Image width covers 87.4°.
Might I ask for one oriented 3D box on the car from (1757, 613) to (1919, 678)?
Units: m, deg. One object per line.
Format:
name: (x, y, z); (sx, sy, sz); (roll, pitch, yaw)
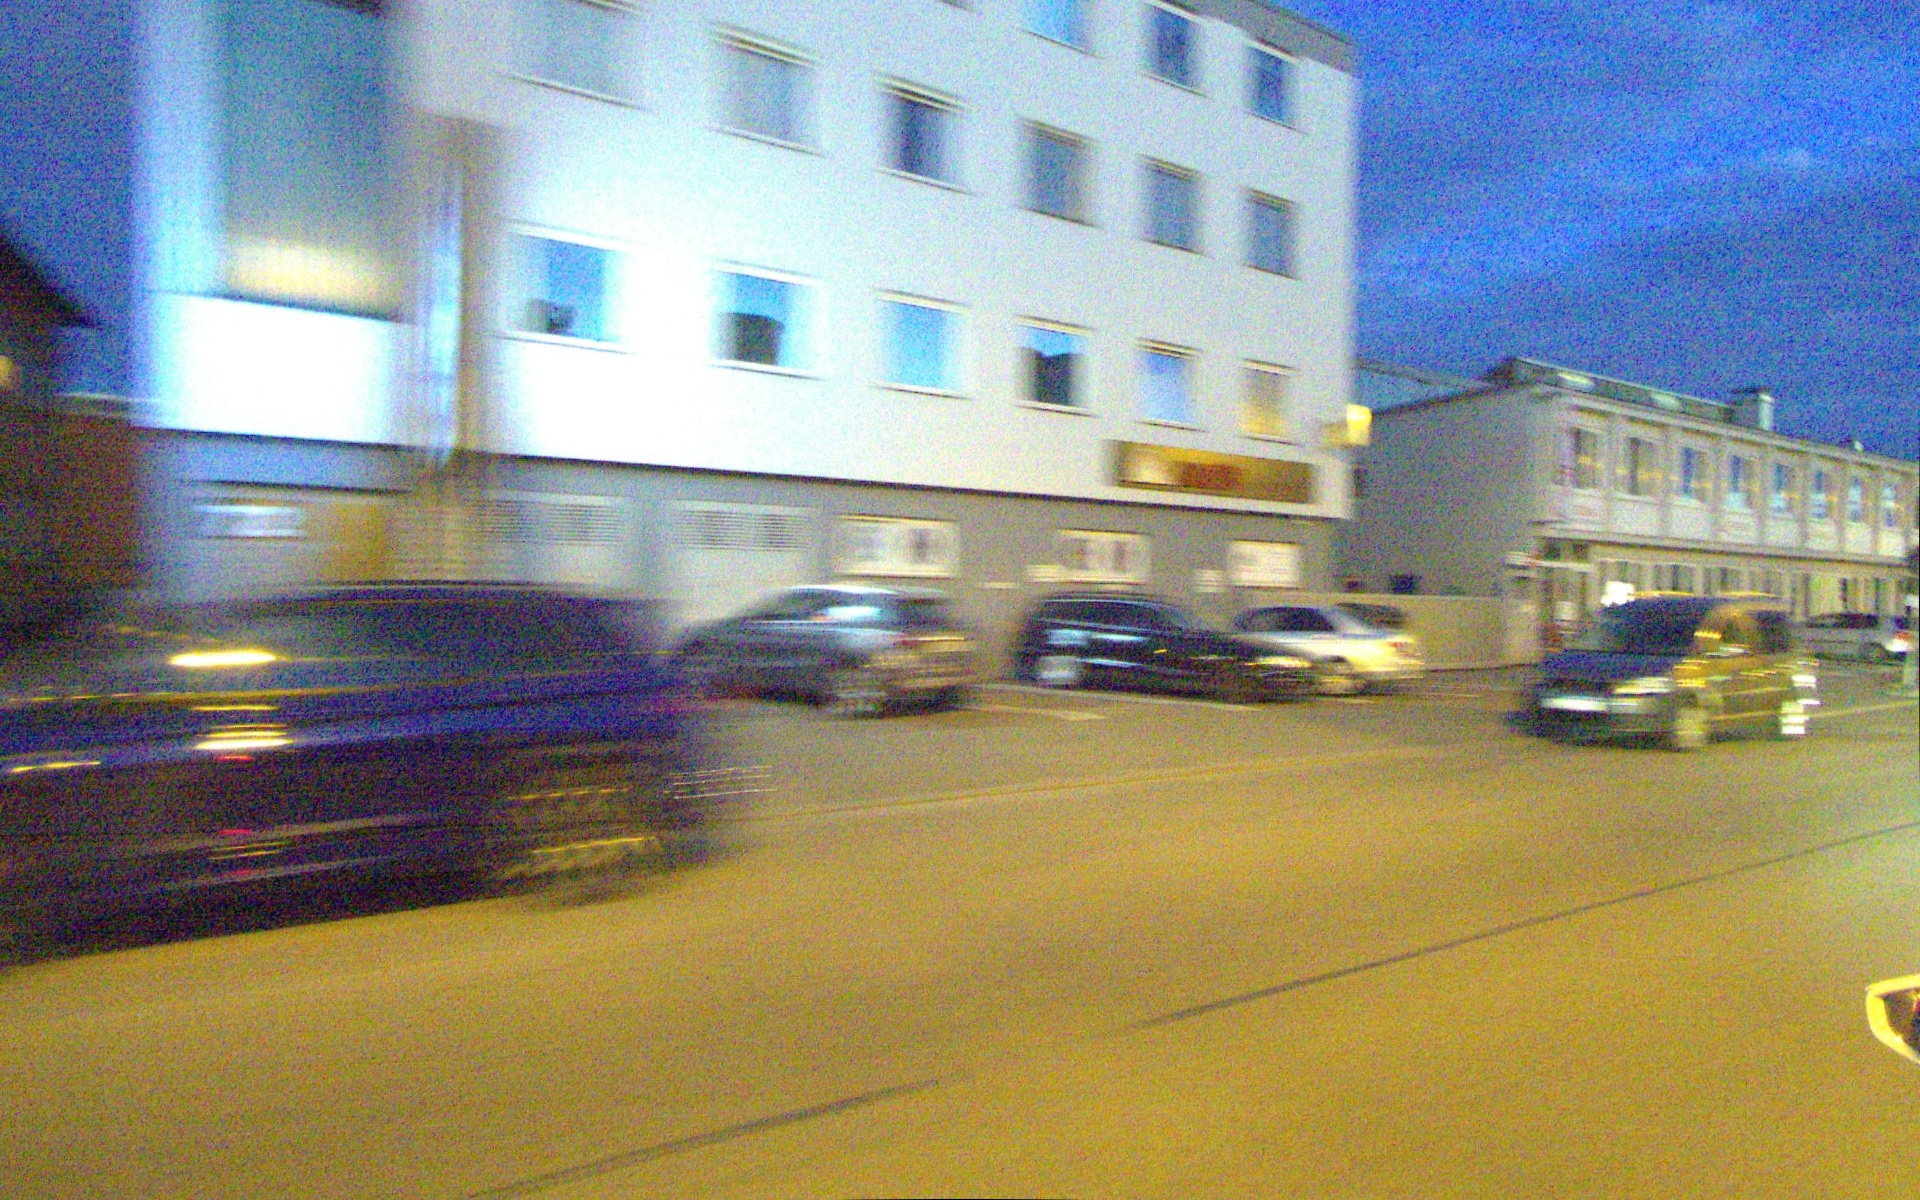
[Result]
car: (26.351, 1.296, 29.663); (1.863, 1.452, 4.131); (1, 4, -11)

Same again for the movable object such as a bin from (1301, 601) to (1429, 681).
movable object such as a bin: (8.290, 0.815, 20.614); (1.590, 1.520, 1.849); (1, 0, -29)

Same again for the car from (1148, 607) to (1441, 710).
car: (5.533, 0.900, 16.769); (4.338, 1.459, 1.789); (1, -1, 32)

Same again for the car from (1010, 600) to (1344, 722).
car: (3.268, 0.831, 15.395); (4.590, 1.572, 1.995); (1, -1, 32)

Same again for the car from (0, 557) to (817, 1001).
car: (-3.331, 0.707, 5.216); (4.760, 1.711, 1.937); (1, 0, -31)

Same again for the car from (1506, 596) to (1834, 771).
car: (9.004, 0.948, 12.651); (4.365, 1.873, 1.804); (2, -1, -31)

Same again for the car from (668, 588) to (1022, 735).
car: (-1.564, 0.676, 12.956); (4.343, 1.580, 1.993); (1, -1, 36)
